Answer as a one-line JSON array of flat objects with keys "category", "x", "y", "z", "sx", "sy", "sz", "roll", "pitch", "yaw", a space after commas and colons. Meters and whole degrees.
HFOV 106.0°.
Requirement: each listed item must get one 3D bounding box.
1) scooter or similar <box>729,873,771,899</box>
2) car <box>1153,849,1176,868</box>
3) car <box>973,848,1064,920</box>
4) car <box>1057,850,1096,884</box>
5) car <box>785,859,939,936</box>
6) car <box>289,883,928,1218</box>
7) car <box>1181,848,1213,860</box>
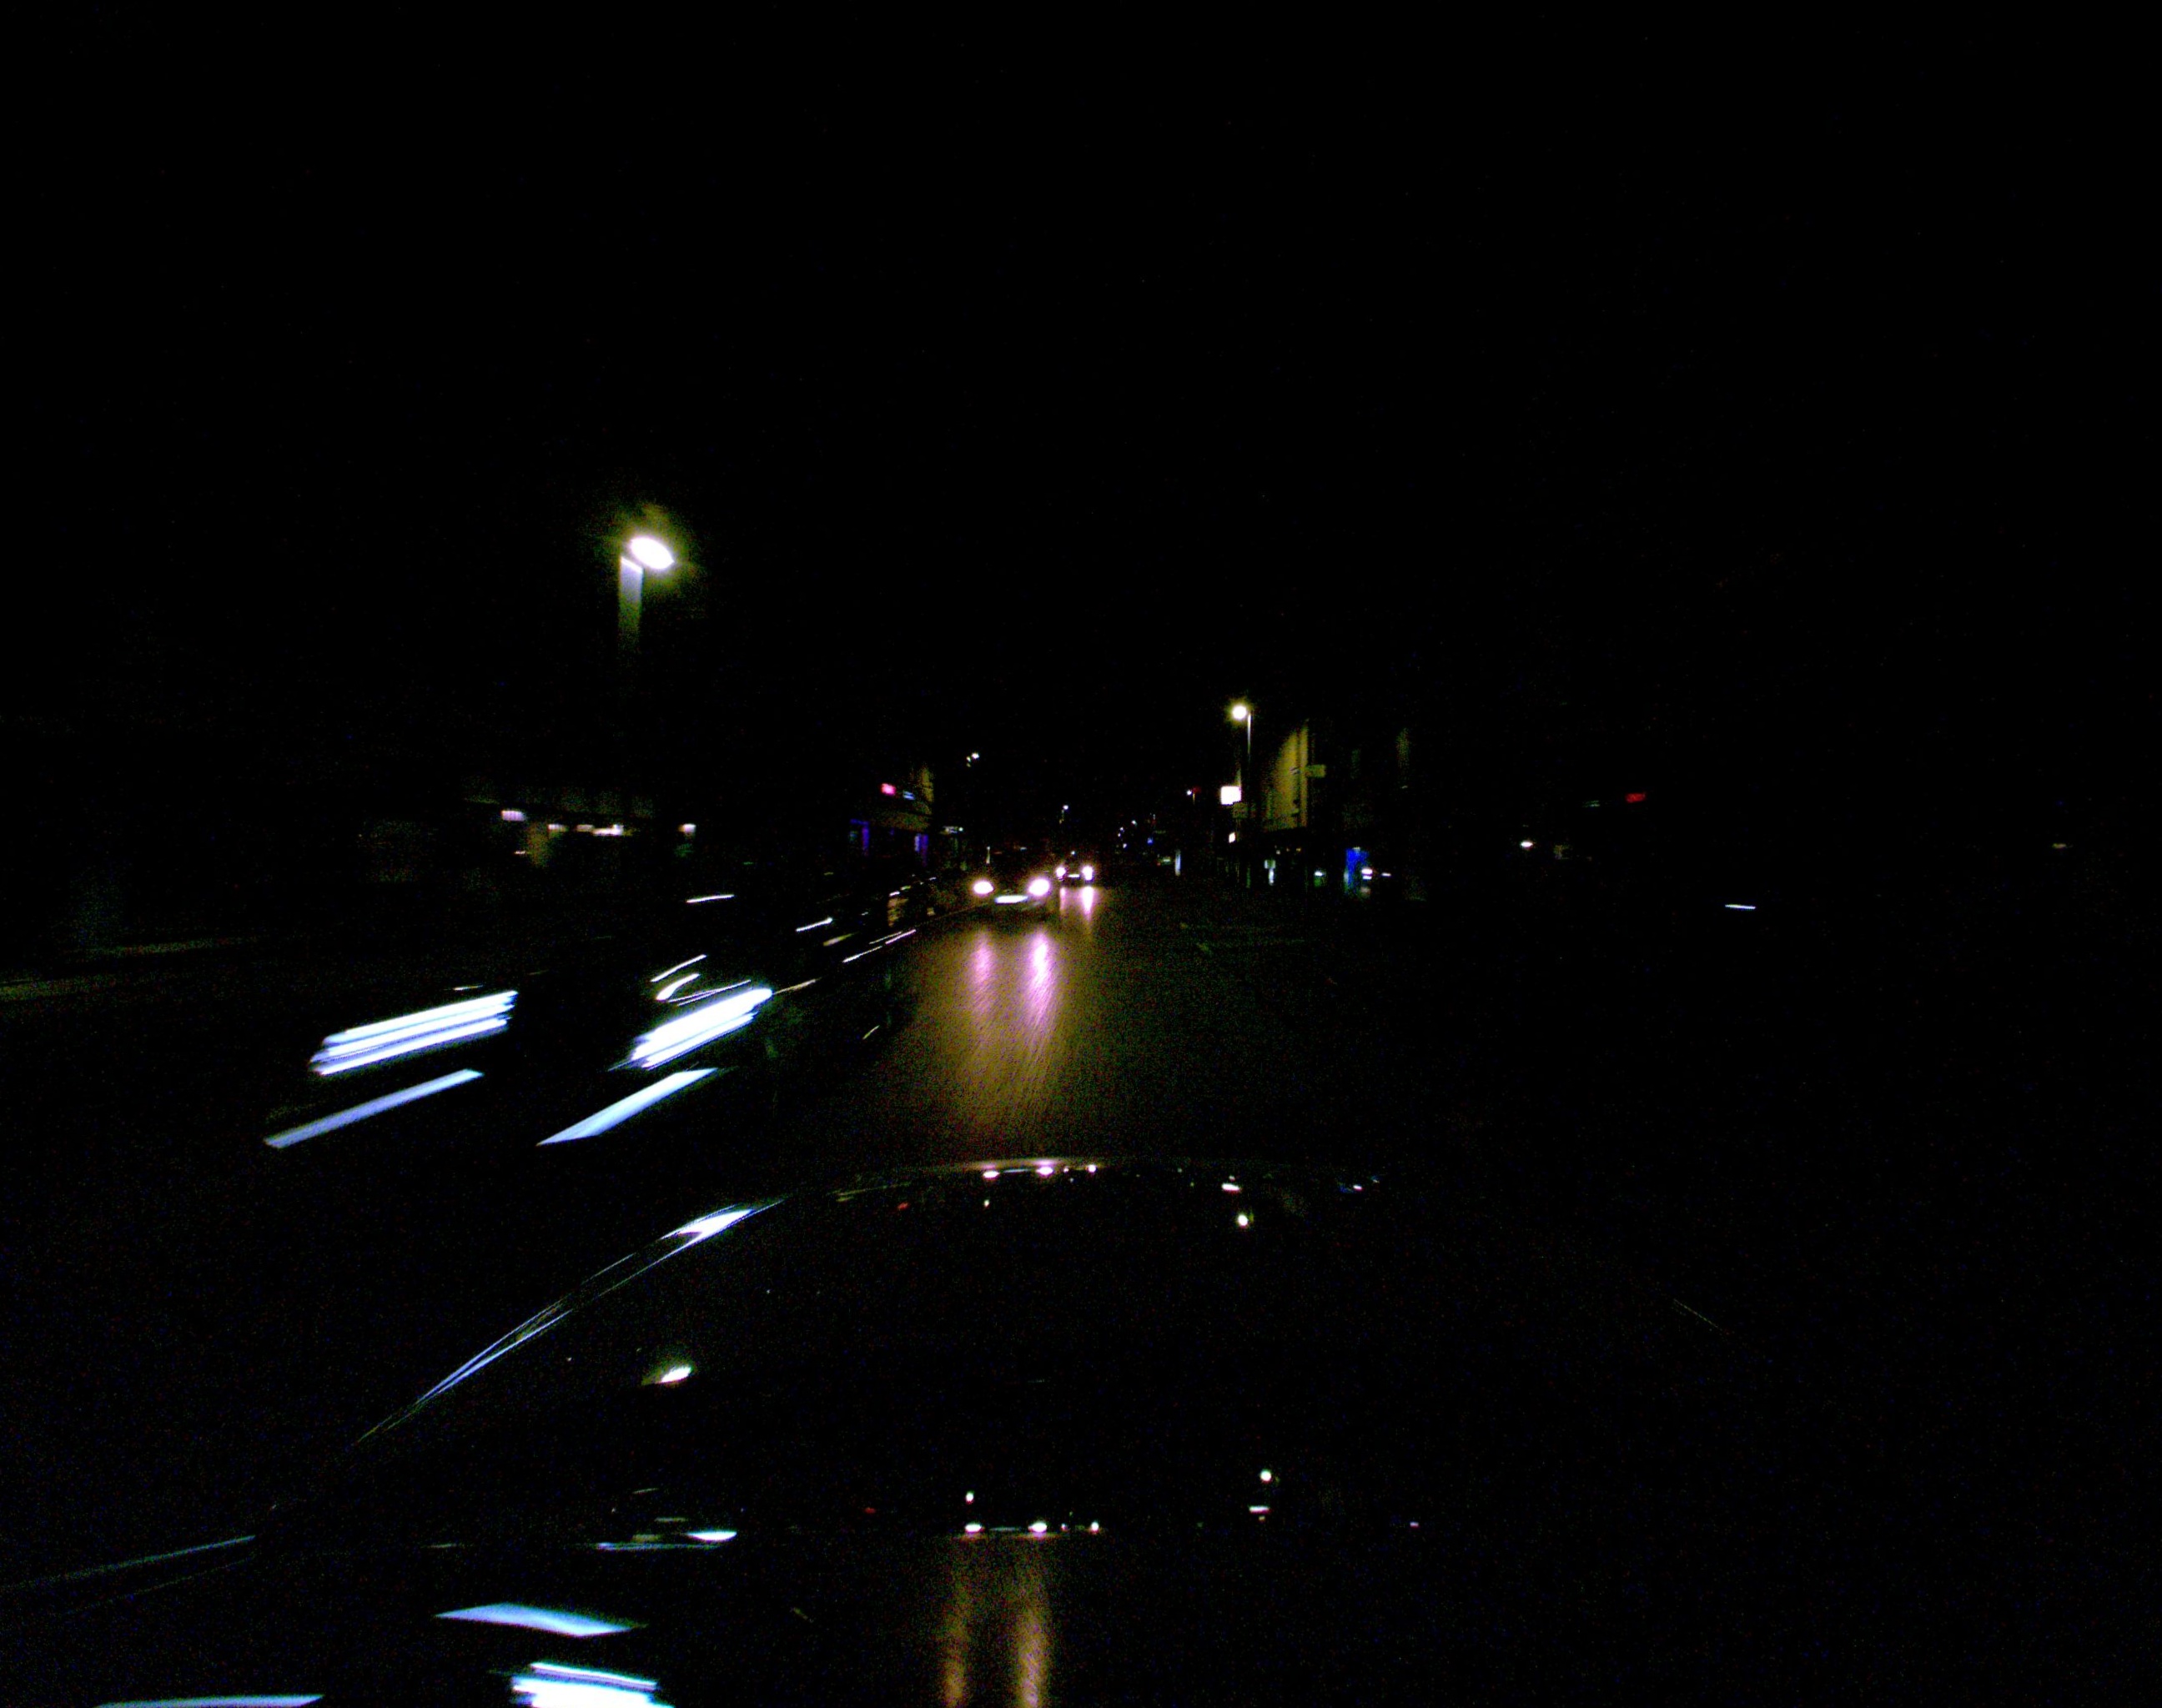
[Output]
[{"category": "scooter or similar", "x": -10.272, "y": 0.992, "z": 25.279, "sx": 1.092, "sy": 0.781, "sz": 0.524, "roll": -1, "pitch": 0, "yaw": -2}, {"category": "car", "x": 7.254, "y": 0.372, "z": 71.093, "sx": 1.768, "sy": 1.652, "sz": 4.367, "roll": -1, "pitch": 0, "yaw": 3}, {"category": "car", "x": -1.505, "y": 0.689, "z": 21.175, "sx": 1.768, "sy": 1.652, "sz": 4.367, "roll": -1, "pitch": 0, "yaw": 3}, {"category": "car", "x": -0.193, "y": 0.657, "z": 42.547, "sx": 1.768, "sy": 1.652, "sz": 4.367, "roll": -1, "pitch": 0, "yaw": 3}, {"category": "car", "x": -4.537, "y": 0.831, "z": 17.656, "sx": 1.906, "sy": 1.370, "sz": 4.461, "roll": -1, "pitch": 1, "yaw": 3}, {"category": "car", "x": -2.398, "y": 0.907, "z": 5.545, "sx": 1.716, "sy": 1.247, "sz": 4.240, "roll": -1, "pitch": 0, "yaw": 2}, {"category": "car", "x": 14.777, "y": 0.016, "z": 104.051, "sx": 3.966, "sy": 1.416, "sz": 2.004, "roll": -1, "pitch": -2, "yaw": 7}]
